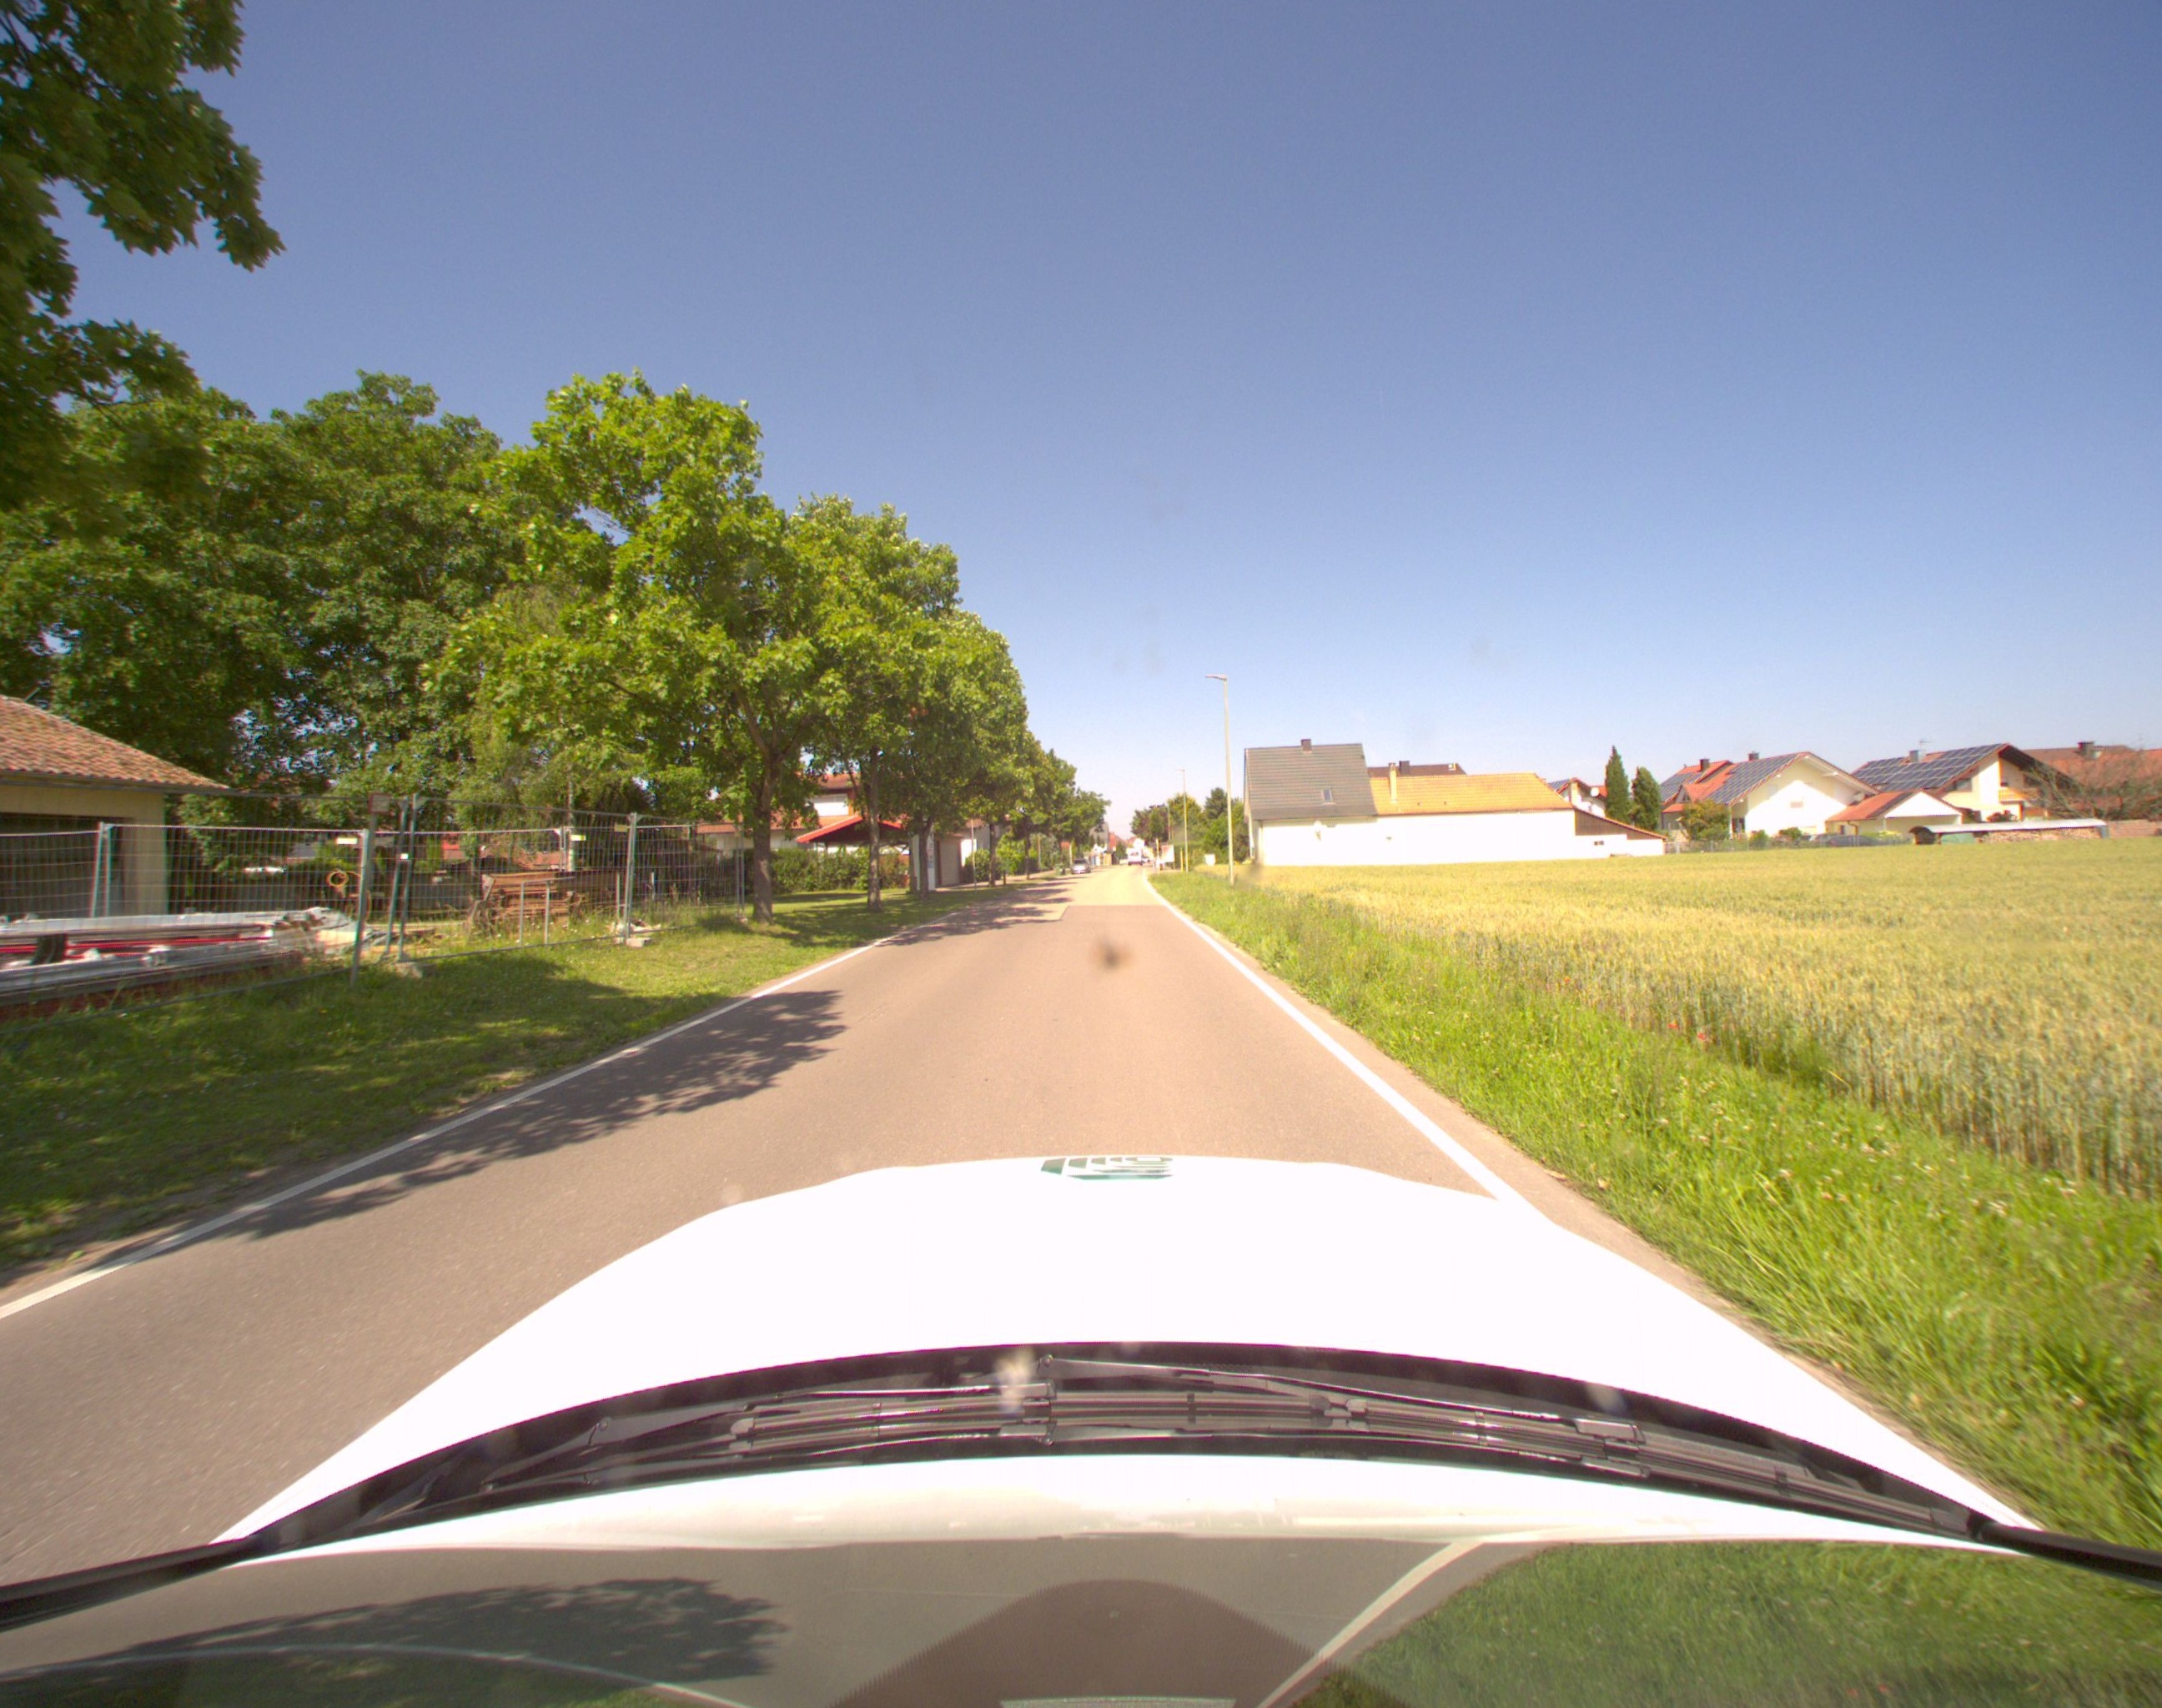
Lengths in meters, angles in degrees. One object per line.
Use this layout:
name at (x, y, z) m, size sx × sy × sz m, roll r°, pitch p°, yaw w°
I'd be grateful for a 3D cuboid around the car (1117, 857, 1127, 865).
car at (7.473, 1.281, 149.103) m, size 1.660 × 1.524 × 3.443 m, roll -3°, pitch -1°, yaw 1°

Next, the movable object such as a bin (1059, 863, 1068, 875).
movable object such as a bin at (-1.571, 1.361, 73.371) m, size 0.570 × 1.079 × 0.601 m, roll -3°, pitch -1°, yaw 17°

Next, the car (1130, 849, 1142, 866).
car at (8.247, 0.496, 122.354) m, size 1.730 × 2.432 × 4.379 m, roll -3°, pitch -1°, yaw 4°

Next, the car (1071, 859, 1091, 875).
car at (0.046, 1.219, 78.053) m, size 1.641 × 1.423 × 4.082 m, roll -5°, pitch -1°, yaw 2°

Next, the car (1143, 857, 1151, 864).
car at (17.324, 1.748, 212.515) m, size 1.828 × 1.753 × 3.798 m, roll -3°, pitch 0°, yaw 2°

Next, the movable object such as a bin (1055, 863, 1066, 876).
movable object such as a bin at (-1.860, 1.393, 72.743) m, size 0.706 × 1.079 × 0.644 m, roll -3°, pitch -1°, yaw 29°
